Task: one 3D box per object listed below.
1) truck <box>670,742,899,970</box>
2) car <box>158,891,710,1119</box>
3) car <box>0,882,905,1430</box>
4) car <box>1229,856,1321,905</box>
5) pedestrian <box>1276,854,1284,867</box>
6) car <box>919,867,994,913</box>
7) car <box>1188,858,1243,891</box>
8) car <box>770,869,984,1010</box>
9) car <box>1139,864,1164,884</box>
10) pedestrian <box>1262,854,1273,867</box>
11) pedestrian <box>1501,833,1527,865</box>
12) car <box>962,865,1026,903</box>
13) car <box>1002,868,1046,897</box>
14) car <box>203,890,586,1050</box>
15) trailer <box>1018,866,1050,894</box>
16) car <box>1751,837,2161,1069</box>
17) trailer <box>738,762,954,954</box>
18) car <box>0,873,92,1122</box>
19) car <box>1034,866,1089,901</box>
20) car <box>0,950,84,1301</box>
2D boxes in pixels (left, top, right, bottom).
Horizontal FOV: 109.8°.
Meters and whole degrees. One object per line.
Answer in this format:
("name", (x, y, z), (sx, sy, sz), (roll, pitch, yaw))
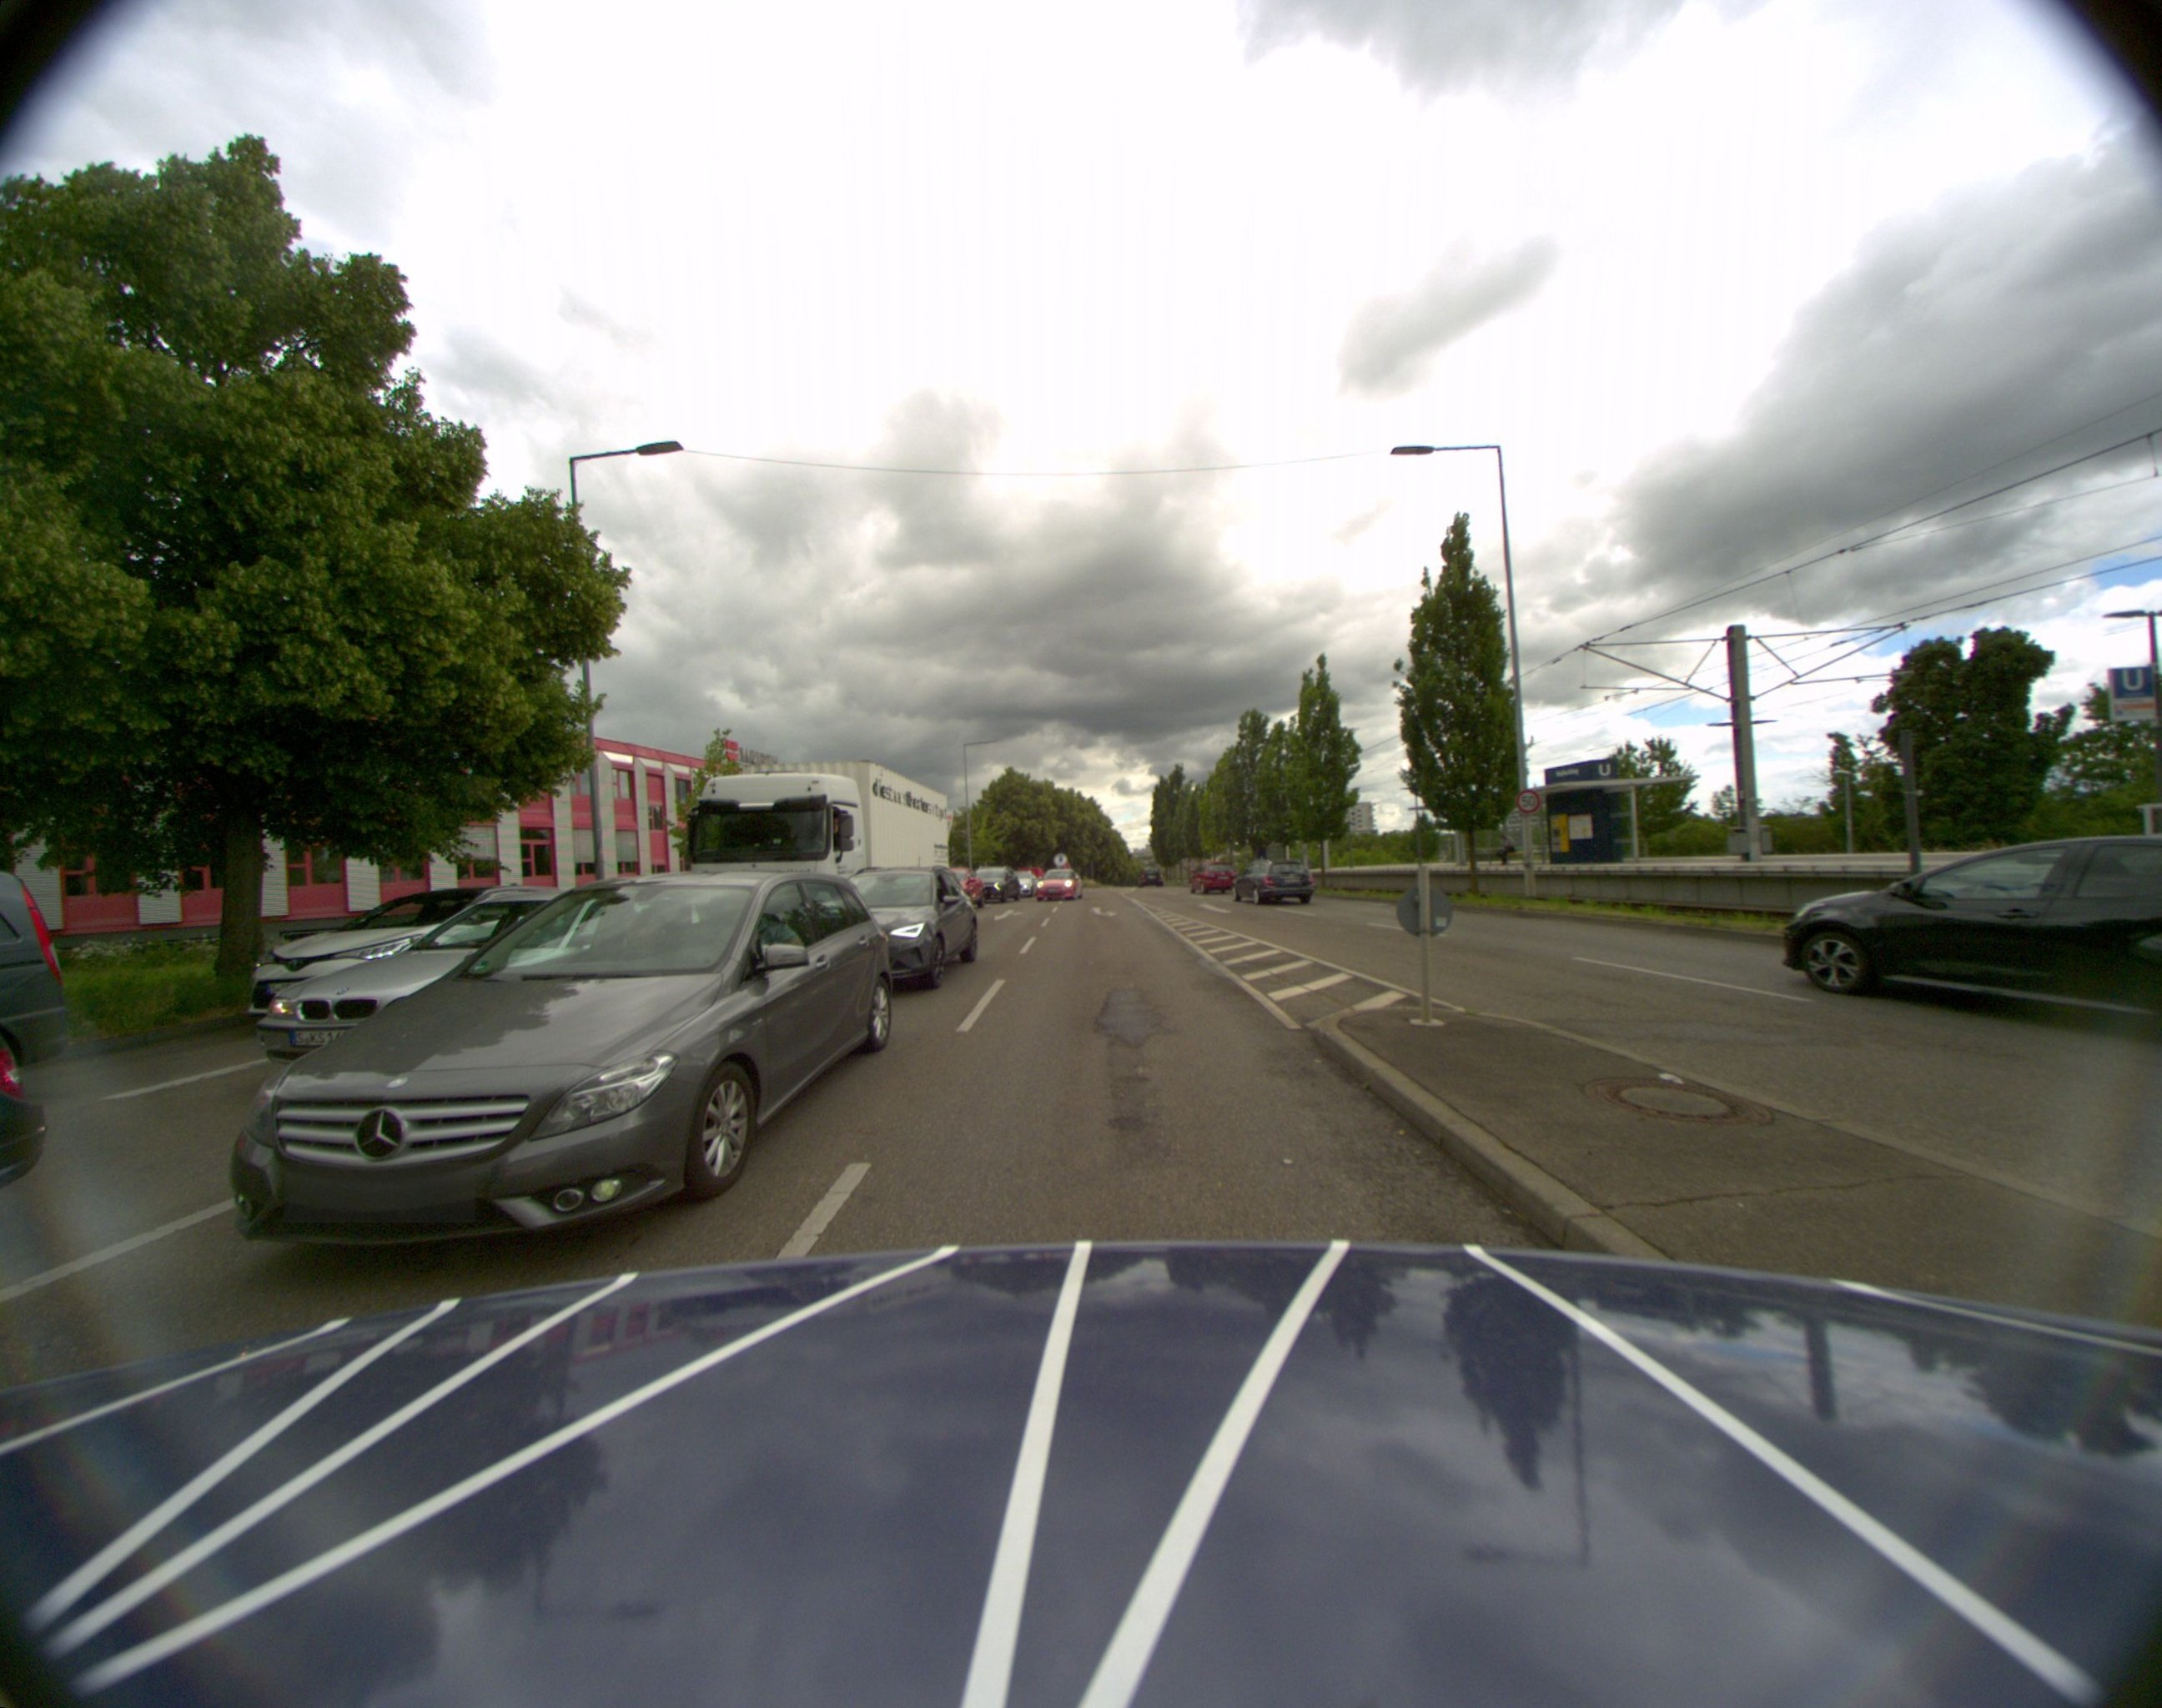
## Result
("truck", (-5.380, 0.076, 14.573), (2.577, 3.683, 4.107), (-2, -1, 2))
("car", (-5.538, 1.159, 7.388), (1.816, 1.346, 4.118), (-2, 0, 0))
("car", (-2.534, 1.029, 4.442), (1.803, 1.514, 4.188), (-2, 0, 3))
("car", (6.424, 0.828, 25.719), (1.695, 1.431, 4.544), (-2, 0, -3))
("pedestrian", (17.548, 0.587, 67.045), (0.608, 1.072, 0.470), (-2, -2, 0))
("car", (-4.532, 1.280, 28.265), (1.711, 1.515, 4.321), (-2, -1, 4))
("car", (6.482, 0.995, 37.046), (1.707, 1.479, 4.086), (-1, -1, -3))
("car", (-2.561, 1.013, 10.572), (1.702, 1.477, 4.001), (-2, 0, 2))
("car", (5.671, 1.587, 61.476), (1.729, 1.564, 3.708), (-2, -1, 2))
("pedestrian", (16.715, 0.576, 68.040), (0.763, 1.192, 0.665), (-2, -1, 0))
("pedestrian", (17.817, -0.189, 31.247), (0.611, 1.261, 0.660), (-2, -3, -3))
("car", (-3.887, 1.318, 34.690), (1.848, 1.552, 4.407), (-2, -1, 7))
("car", (-3.075, 1.516, 41.552), (1.675, 1.439, 4.492), (-2, -1, 5))
("car", (-8.586, 1.337, 10.021), (1.645, 1.487, 3.683), (-2, 0, 0))
("trailer", (-2.795, 1.550, 45.451), (1.412, 1.584, 3.305), (-2, -1, 5))
("car", (7.978, 0.654, 6.075), (1.598, 1.487, 3.938), (-4, 0, -3))
("trailer", (-5.249, 0.130, 18.720), (2.572, 3.683, 7.766), (-2, -1, 2))
("car", (-8.835, 1.077, 3.770), (1.829, 1.793, 4.506), (-2, 0, 2))
("car", (-0.854, 1.319, 35.224), (1.721, 1.448, 3.700), (-2, -1, 11))
("car", (-5.486, 1.158, 1.332), (1.829, 1.426, 4.213), (-2, 0, 2))
